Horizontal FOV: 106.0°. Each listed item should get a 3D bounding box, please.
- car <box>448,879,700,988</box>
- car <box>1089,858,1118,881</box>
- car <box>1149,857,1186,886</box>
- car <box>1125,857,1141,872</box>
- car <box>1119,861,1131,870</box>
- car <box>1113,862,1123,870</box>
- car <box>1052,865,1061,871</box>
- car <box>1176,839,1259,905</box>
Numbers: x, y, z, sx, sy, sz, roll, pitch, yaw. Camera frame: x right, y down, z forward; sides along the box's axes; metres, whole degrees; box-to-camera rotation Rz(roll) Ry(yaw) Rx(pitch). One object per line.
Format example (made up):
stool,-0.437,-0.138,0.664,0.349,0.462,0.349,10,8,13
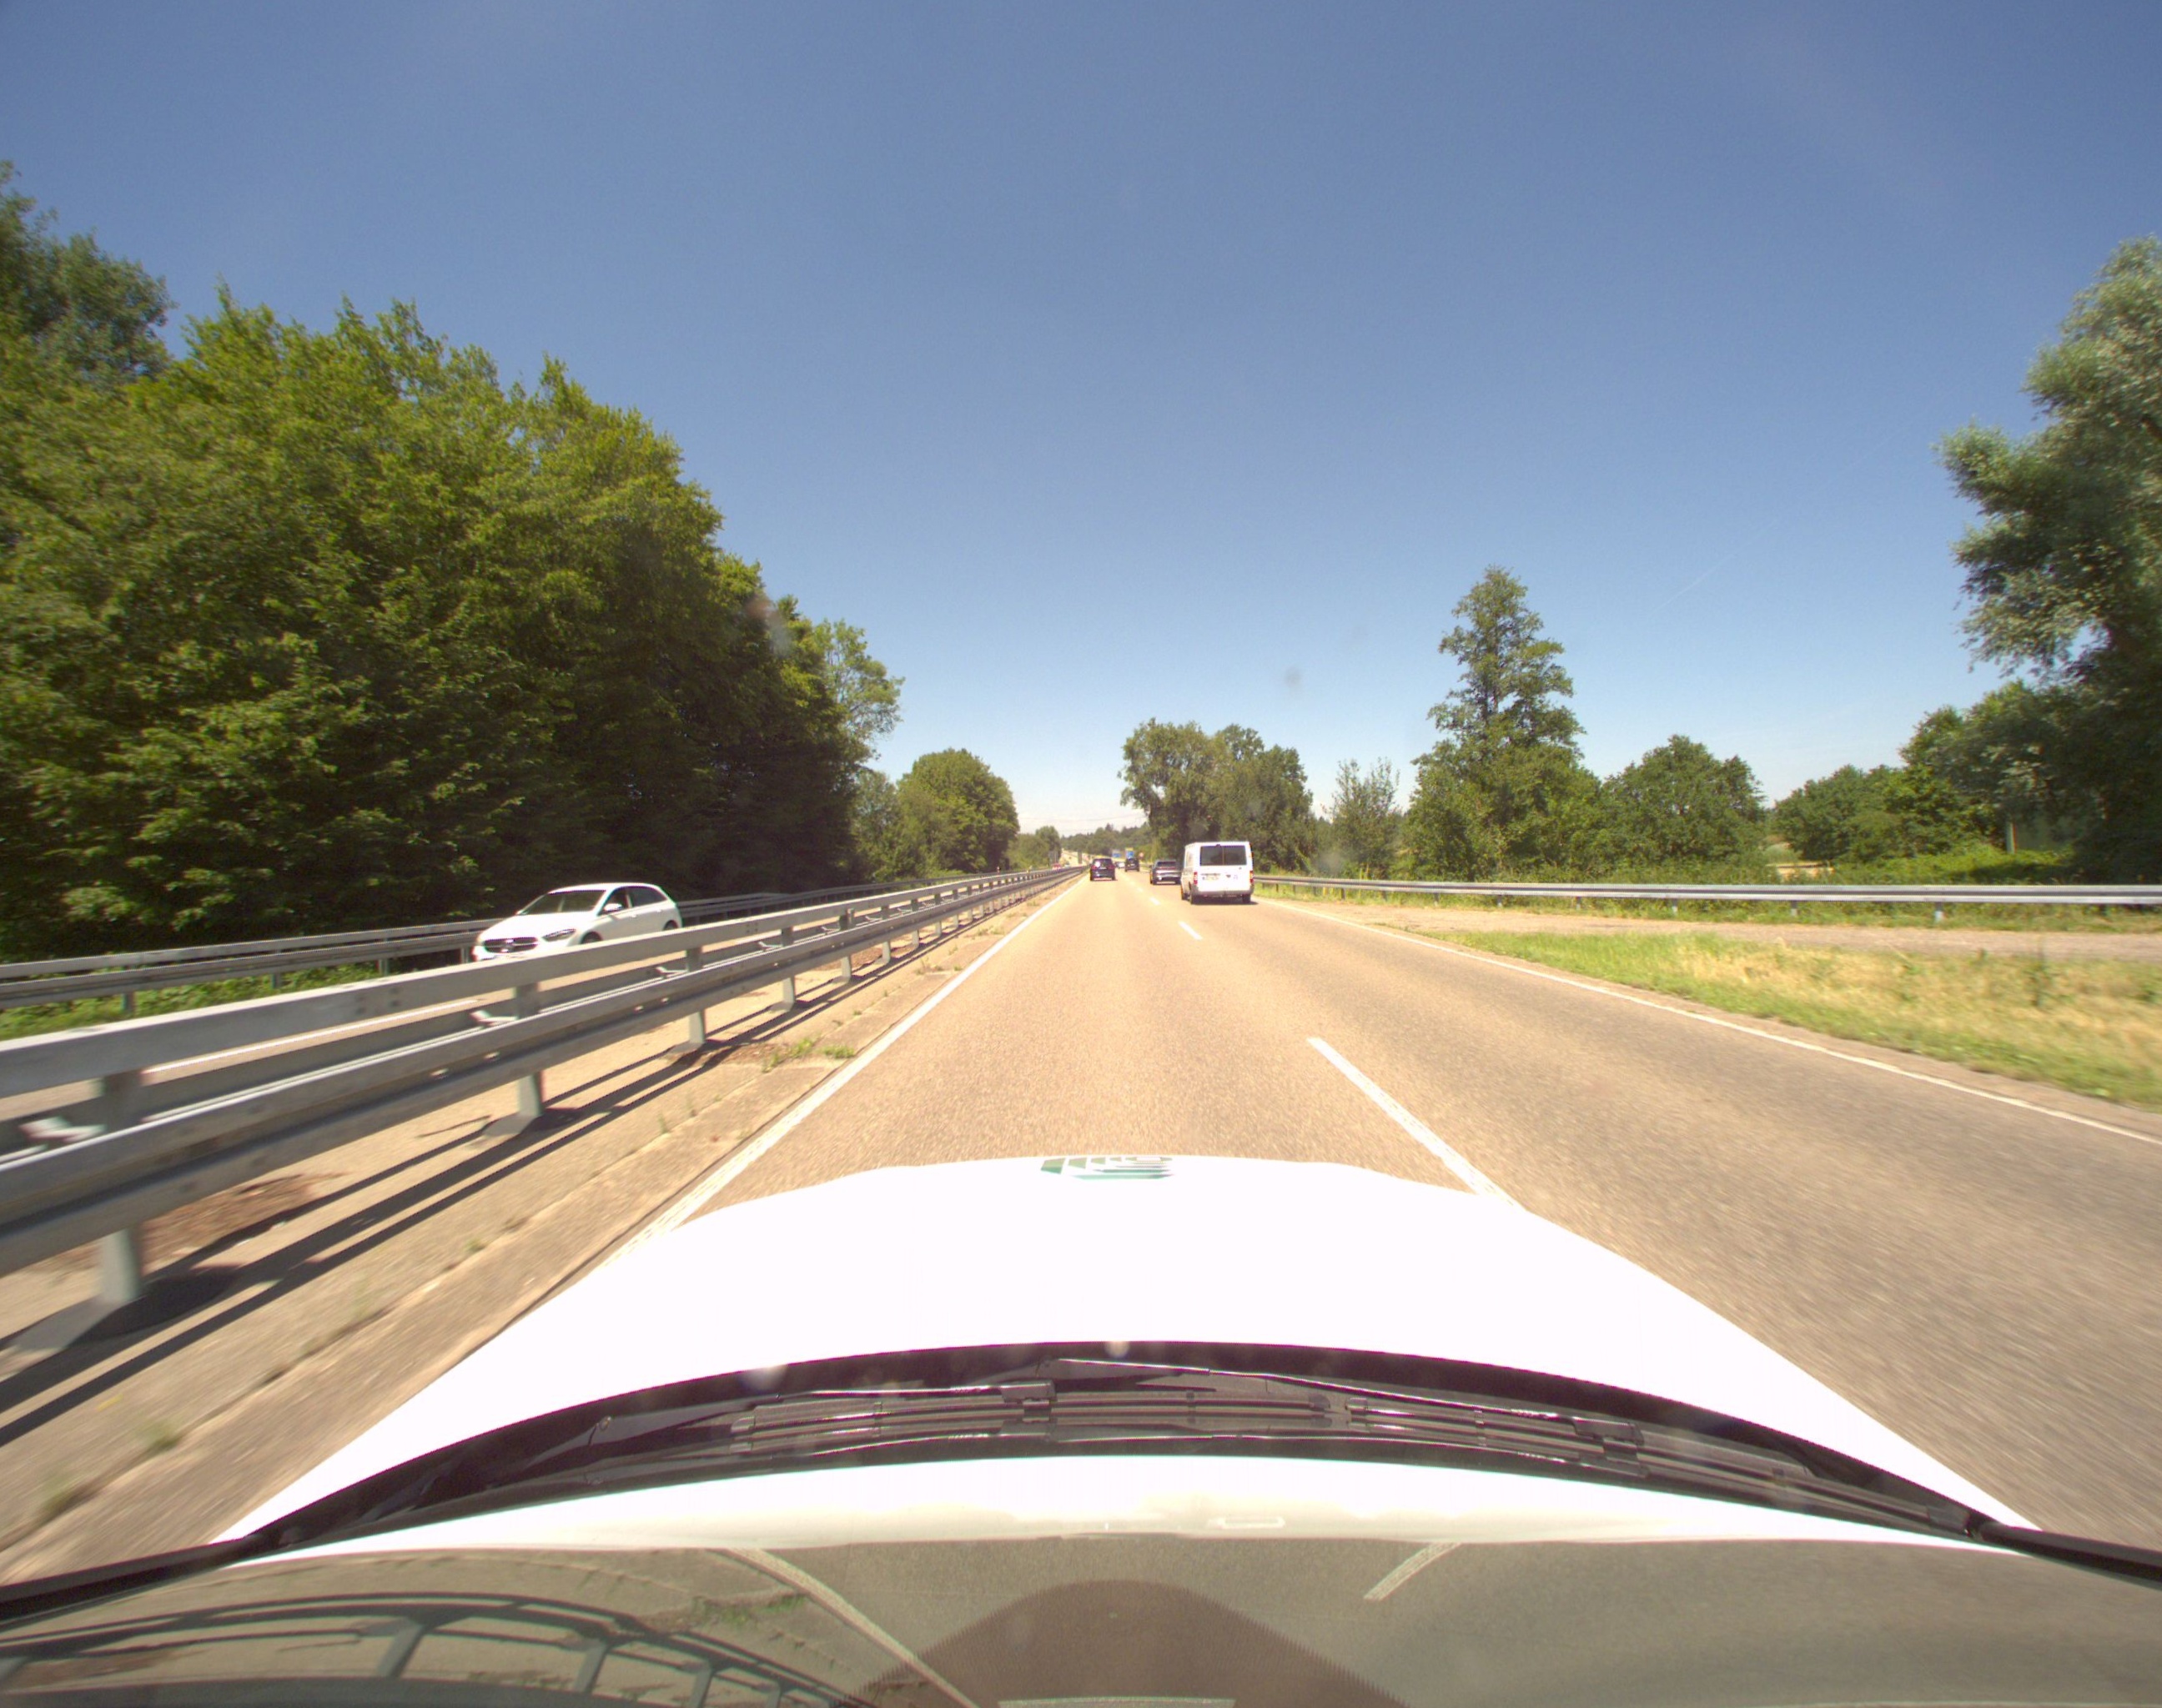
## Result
car,-9.725,1.421,16.228,1.812,1.599,4.842,-4,-1,1
car,1.670,1.162,61.744,1.987,1.654,3.999,-2,0,0
car,5.157,1.002,48.984,1.779,1.553,4.019,-2,0,0
car,6.525,1.332,103.347,1.773,1.817,4.214,-3,0,1
car,8.124,2.148,150.471,1.773,1.479,4.314,-2,0,0
car,7.461,2.435,165.134,1.813,1.414,4.000,-3,0,1
car,-5.383,3.095,180.384,1.770,1.419,4.576,-3,-1,1
car,4.500,0.600,27.691,1.999,1.989,5.034,-2,-1,1
